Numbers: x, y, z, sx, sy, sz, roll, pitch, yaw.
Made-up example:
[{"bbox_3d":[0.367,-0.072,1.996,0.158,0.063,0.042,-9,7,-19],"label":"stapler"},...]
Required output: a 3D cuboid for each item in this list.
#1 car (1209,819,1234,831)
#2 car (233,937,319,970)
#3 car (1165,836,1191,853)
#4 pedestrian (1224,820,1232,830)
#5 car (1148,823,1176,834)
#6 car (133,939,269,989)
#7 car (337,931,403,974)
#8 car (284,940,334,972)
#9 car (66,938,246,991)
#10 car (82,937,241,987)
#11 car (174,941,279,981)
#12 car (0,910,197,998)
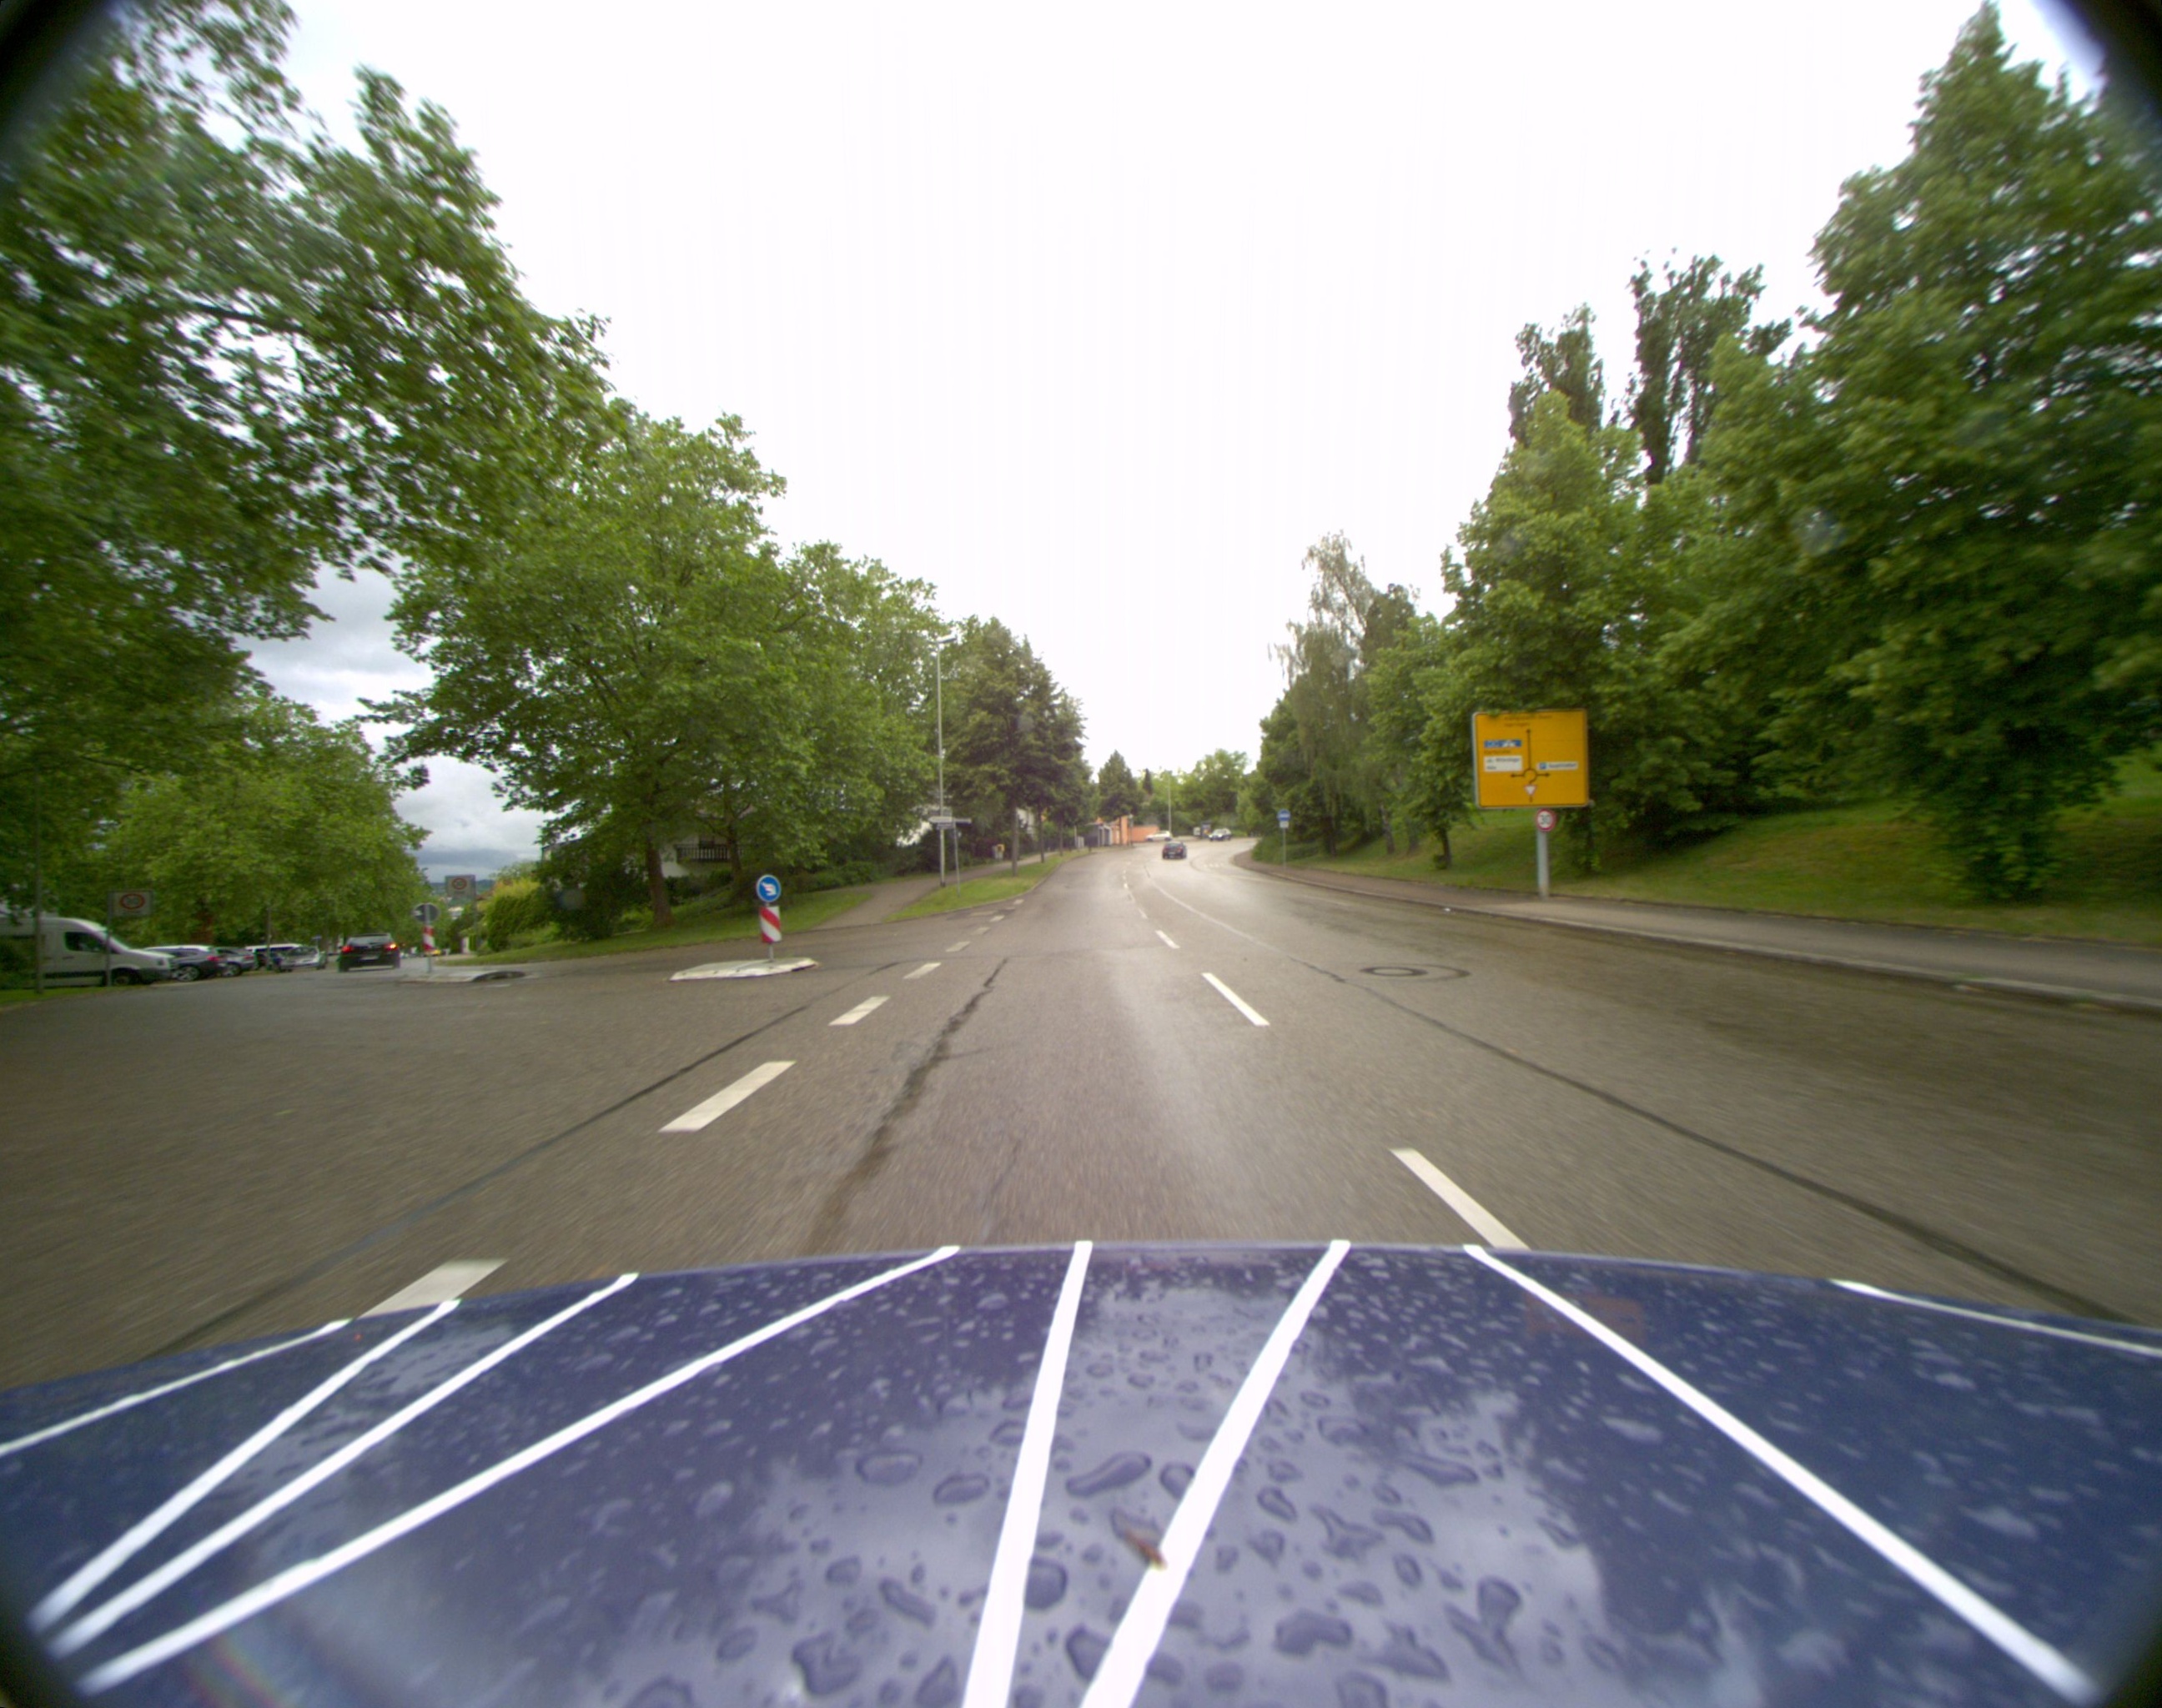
[{"bbox_3d":[19.409,-3.987,104.787,1.858,1.406,4.394,-1,0,34],"label":"car"},{"bbox_3d":[-63.263,7.799,59.844,4.311,1.829,2.159,-5,1,-41],"label":"car"},{"bbox_3d":[8.351,-0.824,65.050,1.724,1.376,4.143,0,1,13],"label":"car"},{"bbox_3d":[23.969,-4.731,123.823,0.926,1.646,1.099,-1,2,23],"label":"pedestrian"},{"bbox_3d":[12.087,-3.773,113.239,3.863,1.557,1.728,0,2,13],"label":"car"},{"bbox_3d":[-46.763,5.808,40.548,4.311,1.829,2.351,-5,1,-41],"label":"car"},{"bbox_3d":[-28.453,3.893,30.499,1.730,1.454,3.991,-1,-4,-41],"label":"car"},{"bbox_3d":[-47.374,6.217,46.703,1.730,1.456,3.989,-5,1,-41],"label":"car"},{"bbox_3d":[-39.690,4.725,32.855,2.352,1.827,4.722,-8,-7,44],"label":"car"},{"bbox_3d":[-41.814,4.860,34.754,4.313,1.828,2.082,1,-3,-41],"label":"car"},{"bbox_3d":[-56.917,7.102,50.752,4.311,1.829,2.351,-5,1,-41],"label":"car"},{"bbox_3d":[-34.770,3.320,25.609,6.161,2.657,2.351,1,-3,-41],"label":"car"}]
